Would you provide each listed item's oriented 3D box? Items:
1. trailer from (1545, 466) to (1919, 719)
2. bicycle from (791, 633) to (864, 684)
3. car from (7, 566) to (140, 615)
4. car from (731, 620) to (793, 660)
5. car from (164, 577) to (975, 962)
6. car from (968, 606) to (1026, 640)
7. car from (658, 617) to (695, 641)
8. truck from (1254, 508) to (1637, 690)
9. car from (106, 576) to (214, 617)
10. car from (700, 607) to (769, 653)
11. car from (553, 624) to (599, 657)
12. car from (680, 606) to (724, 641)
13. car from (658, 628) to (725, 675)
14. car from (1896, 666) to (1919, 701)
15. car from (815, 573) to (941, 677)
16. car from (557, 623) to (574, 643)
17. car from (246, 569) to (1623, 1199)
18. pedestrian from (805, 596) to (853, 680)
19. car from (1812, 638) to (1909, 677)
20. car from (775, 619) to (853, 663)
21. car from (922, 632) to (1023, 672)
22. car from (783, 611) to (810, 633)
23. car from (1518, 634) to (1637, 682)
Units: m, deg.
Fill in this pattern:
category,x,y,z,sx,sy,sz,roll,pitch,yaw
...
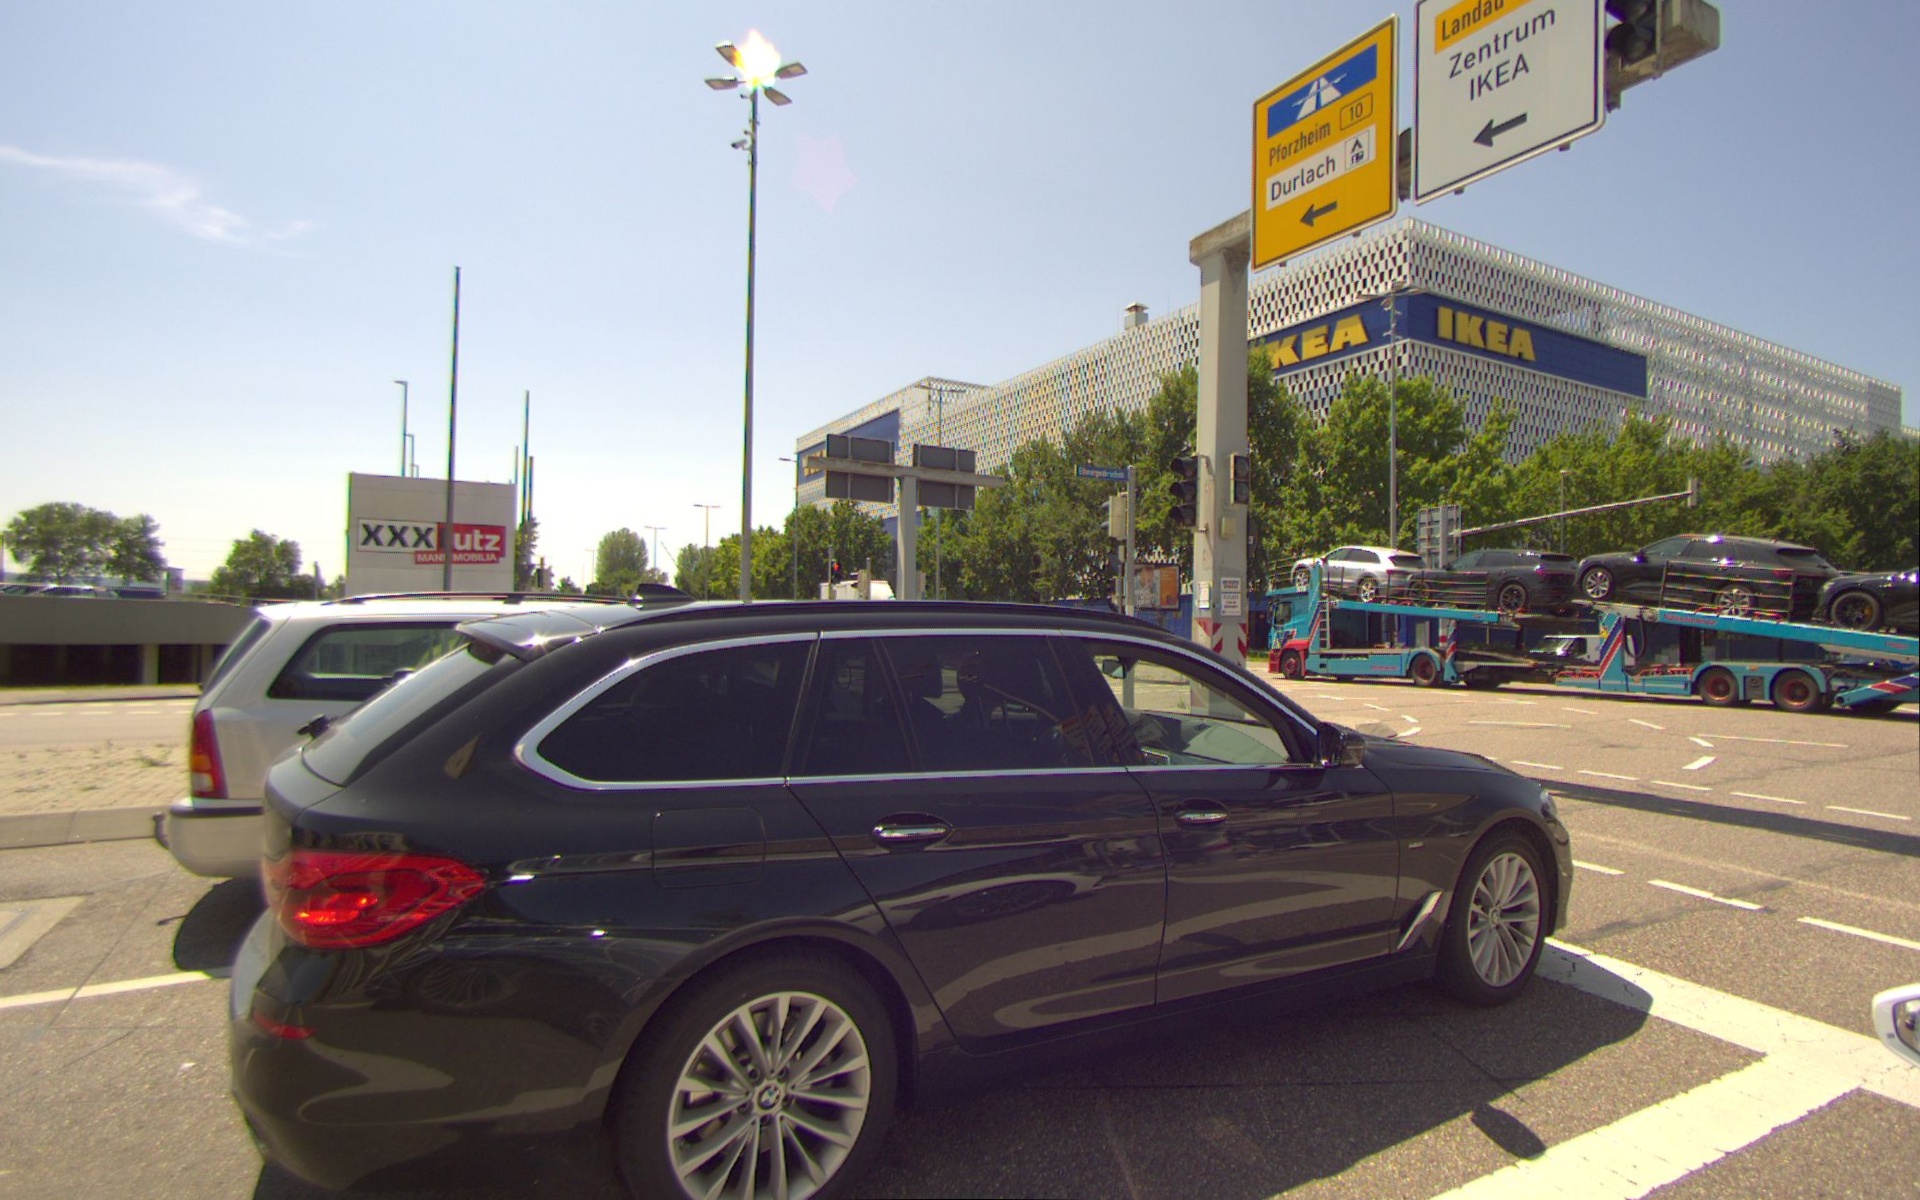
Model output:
category,x,y,z,sx,sy,sz,roll,pitch,yaw
trailer,16.374,-0.056,18.837,3.048,4.135,9.599,2,-1,-20
bicycle,-3.346,1.436,25.180,0.987,1.229,2.079,1,-2,-35
car,-38.308,-0.360,43.544,3.953,1.957,1.984,2,-2,-30
car,-10.488,2.094,53.075,1.975,2.040,4.681,2,-2,-27
car,-2.027,0.720,5.852,3.961,1.514,1.785,2,-1,-36
car,2.332,1.423,63.780,1.974,2.040,3.972,2,-1,-27
car,-23.513,2.426,83.202,1.975,1.930,4.778,1,-1,-28
truck,12.869,0.091,28.379,3.054,4.136,10.604,2,-1,-20
car,-40.104,-0.136,50.494,3.956,1.933,1.983,2,-2,-32
car,-13.586,1.799,60.182,2.542,2.568,6.587,2,-2,-26
car,-24.033,2.518,62.766,1.815,2.040,3.963,2,-2,-34
car,-17.806,1.635,69.184,1.972,2.318,5.848,1,-2,-24
car,-9.436,1.781,35.137,1.904,1.528,3.982,1,-2,-20
car,59.250,5.148,61.212,3.949,2.040,1.987,4,-3,-26
car,-3.231,0.926,37.691,2.156,3.532,6.875,0,-1,-28
car,-42.017,3.517,107.035,1.594,2.040,3.863,1,-1,-20
car,0.290,0.738,3.676,4.570,1.485,1.791,1,-1,-31
pedestrian,-3.267,0.937,25.060,0.856,2.040,0.899,1,-2,-35
car,39.037,2.481,43.526,4.444,1.619,1.866,2,-3,-30
car,-6.647,1.813,45.103,1.973,1.835,5.438,1,-2,-25
car,0.387,1.848,36.752,1.756,1.360,4.262,1,-2,-30
car,-15.281,2.085,93.742,1.858,2.040,3.983,2,-2,-19
car,27.312,2.553,44.466,4.691,2.034,1.992,2,-2,-19
